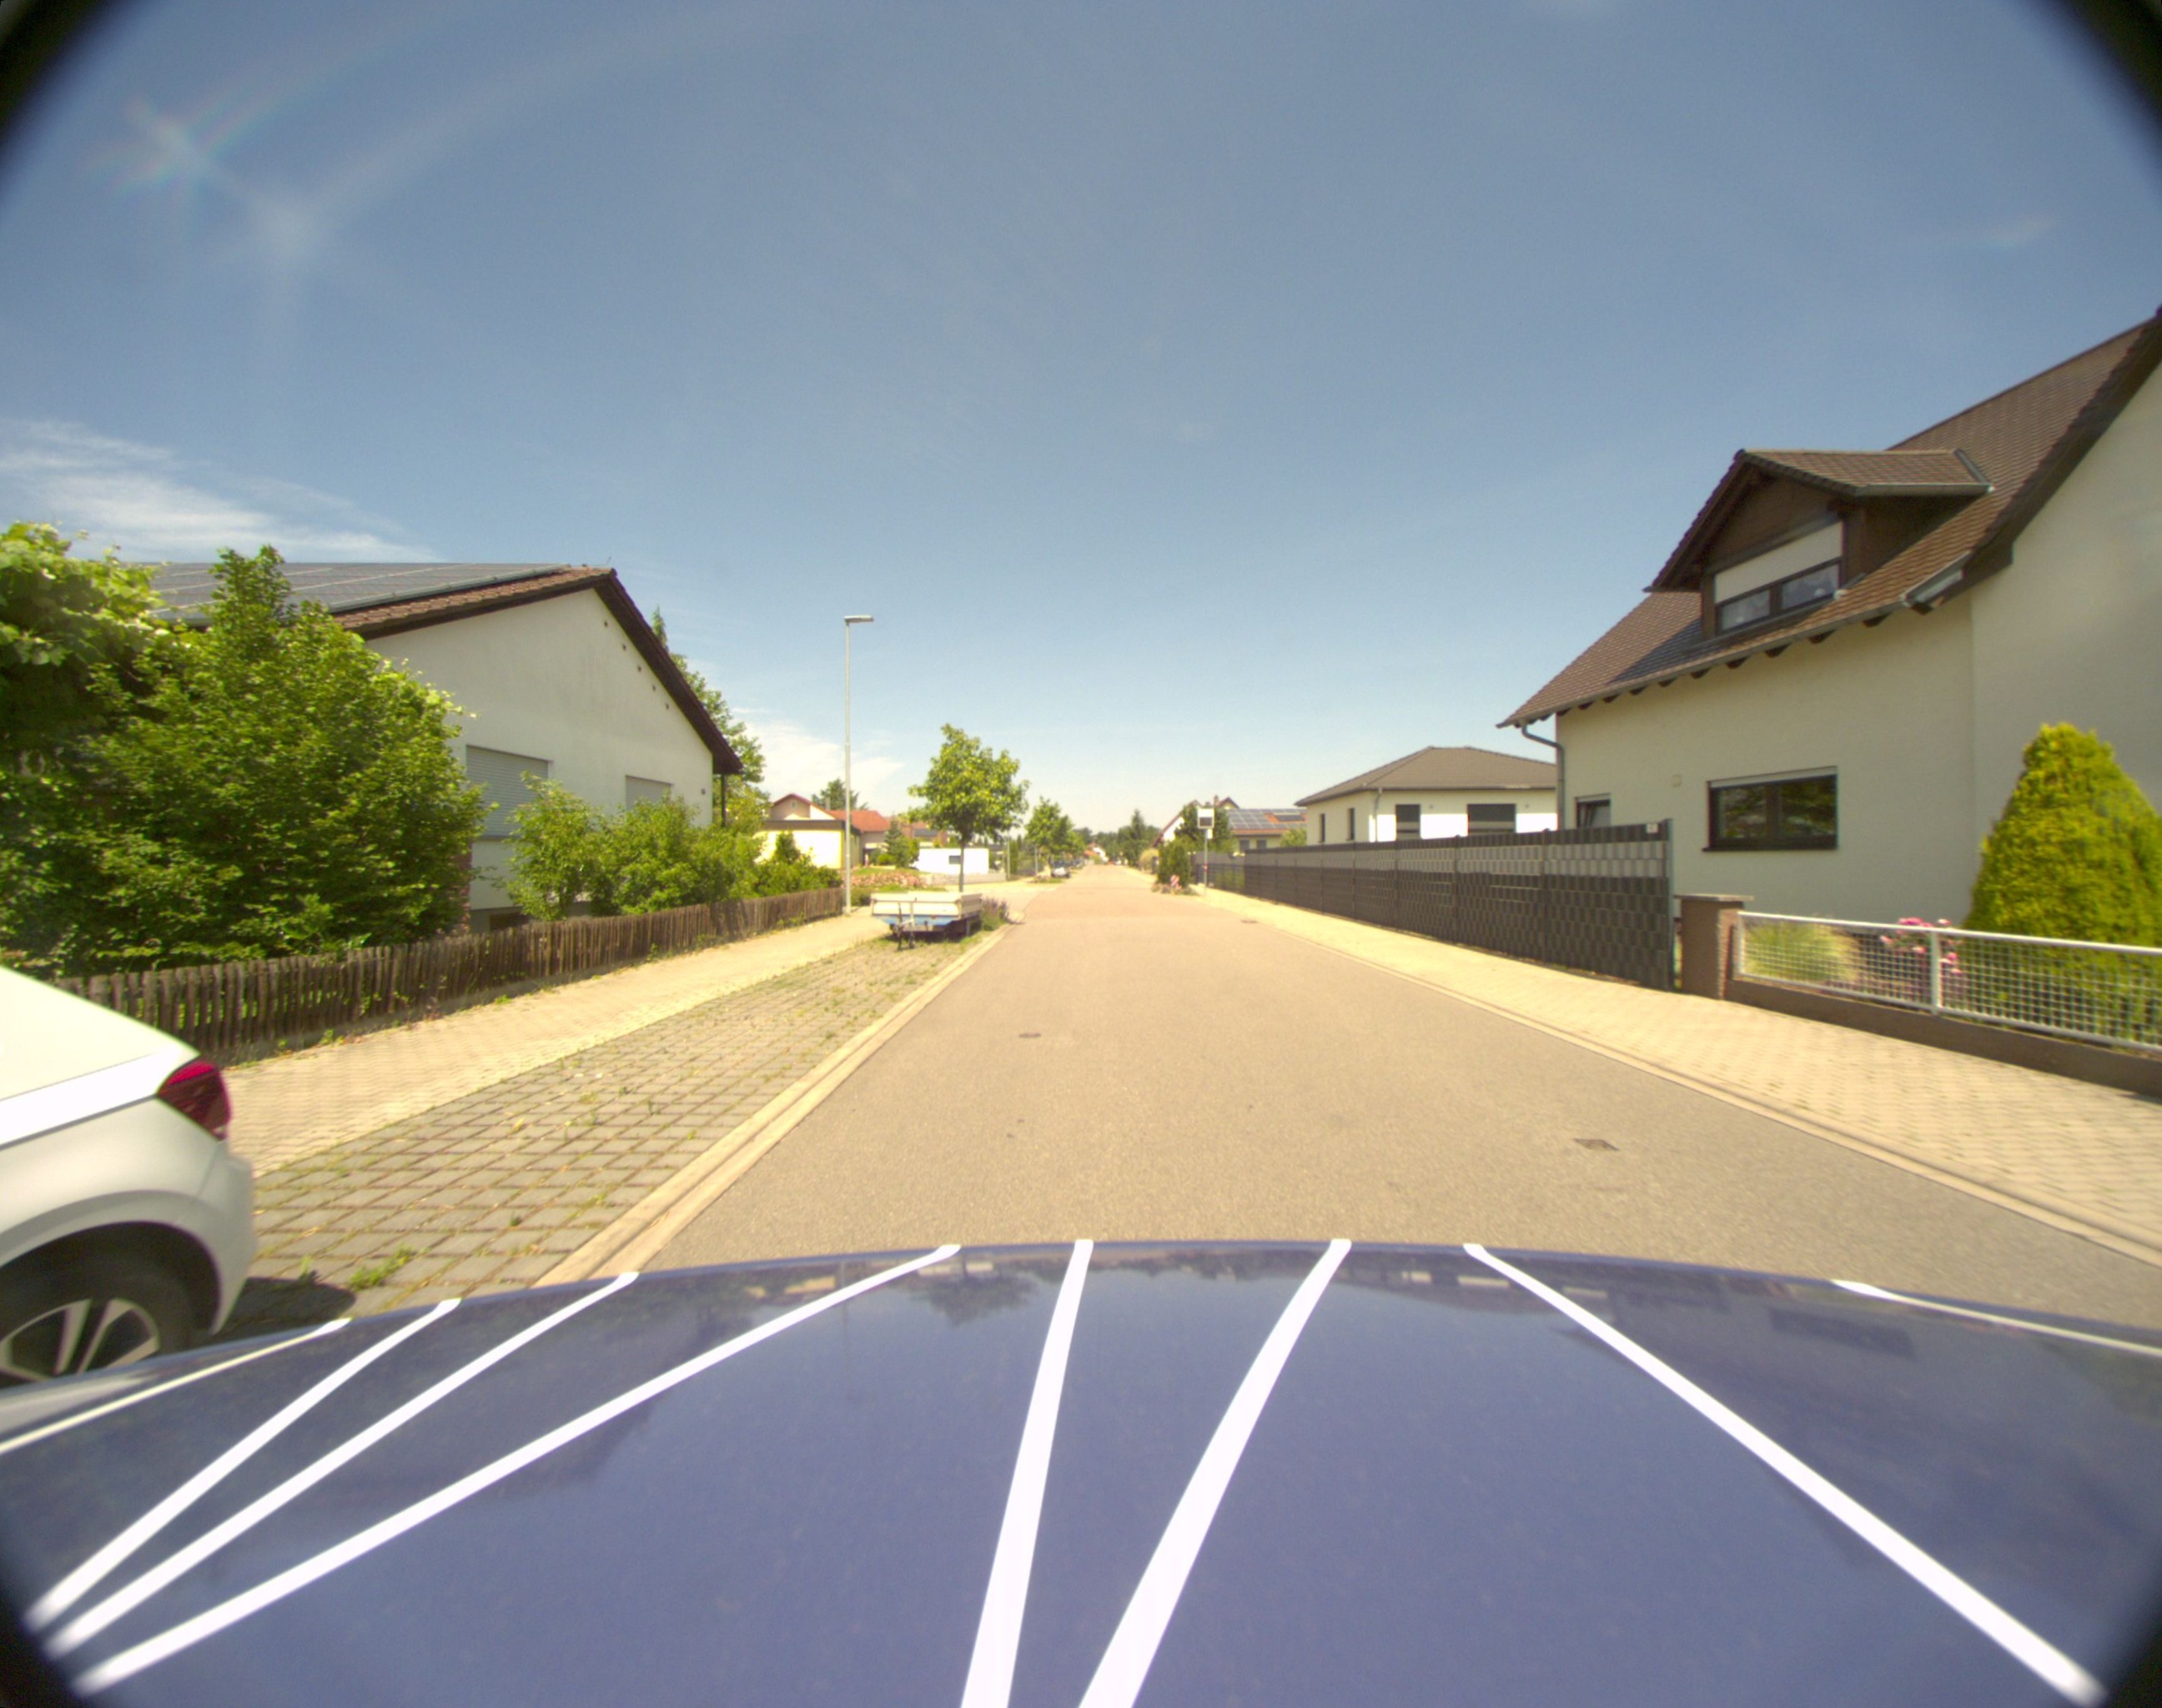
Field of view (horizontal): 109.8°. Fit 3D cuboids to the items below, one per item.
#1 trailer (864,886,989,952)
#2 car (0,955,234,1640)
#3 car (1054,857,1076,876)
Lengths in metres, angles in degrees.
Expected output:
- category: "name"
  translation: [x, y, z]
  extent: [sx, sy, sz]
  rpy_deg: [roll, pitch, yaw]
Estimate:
- category: "trailer"
  translation: [-2.912, 1.206, 14.882]
  extent: [1.792, 1.052, 2.899]
  rpy_deg: [0, 0, 1]
- category: "car"
  translation: [-3.213, 0.983, 0.131]
  extent: [1.819, 1.412, 3.867]
  rpy_deg: [0, 0, -1]
- category: "car"
  translation: [-1.426, 1.067, 68.388]
  extent: [1.597, 1.630, 3.803]
  rpy_deg: [1, 0, 4]
